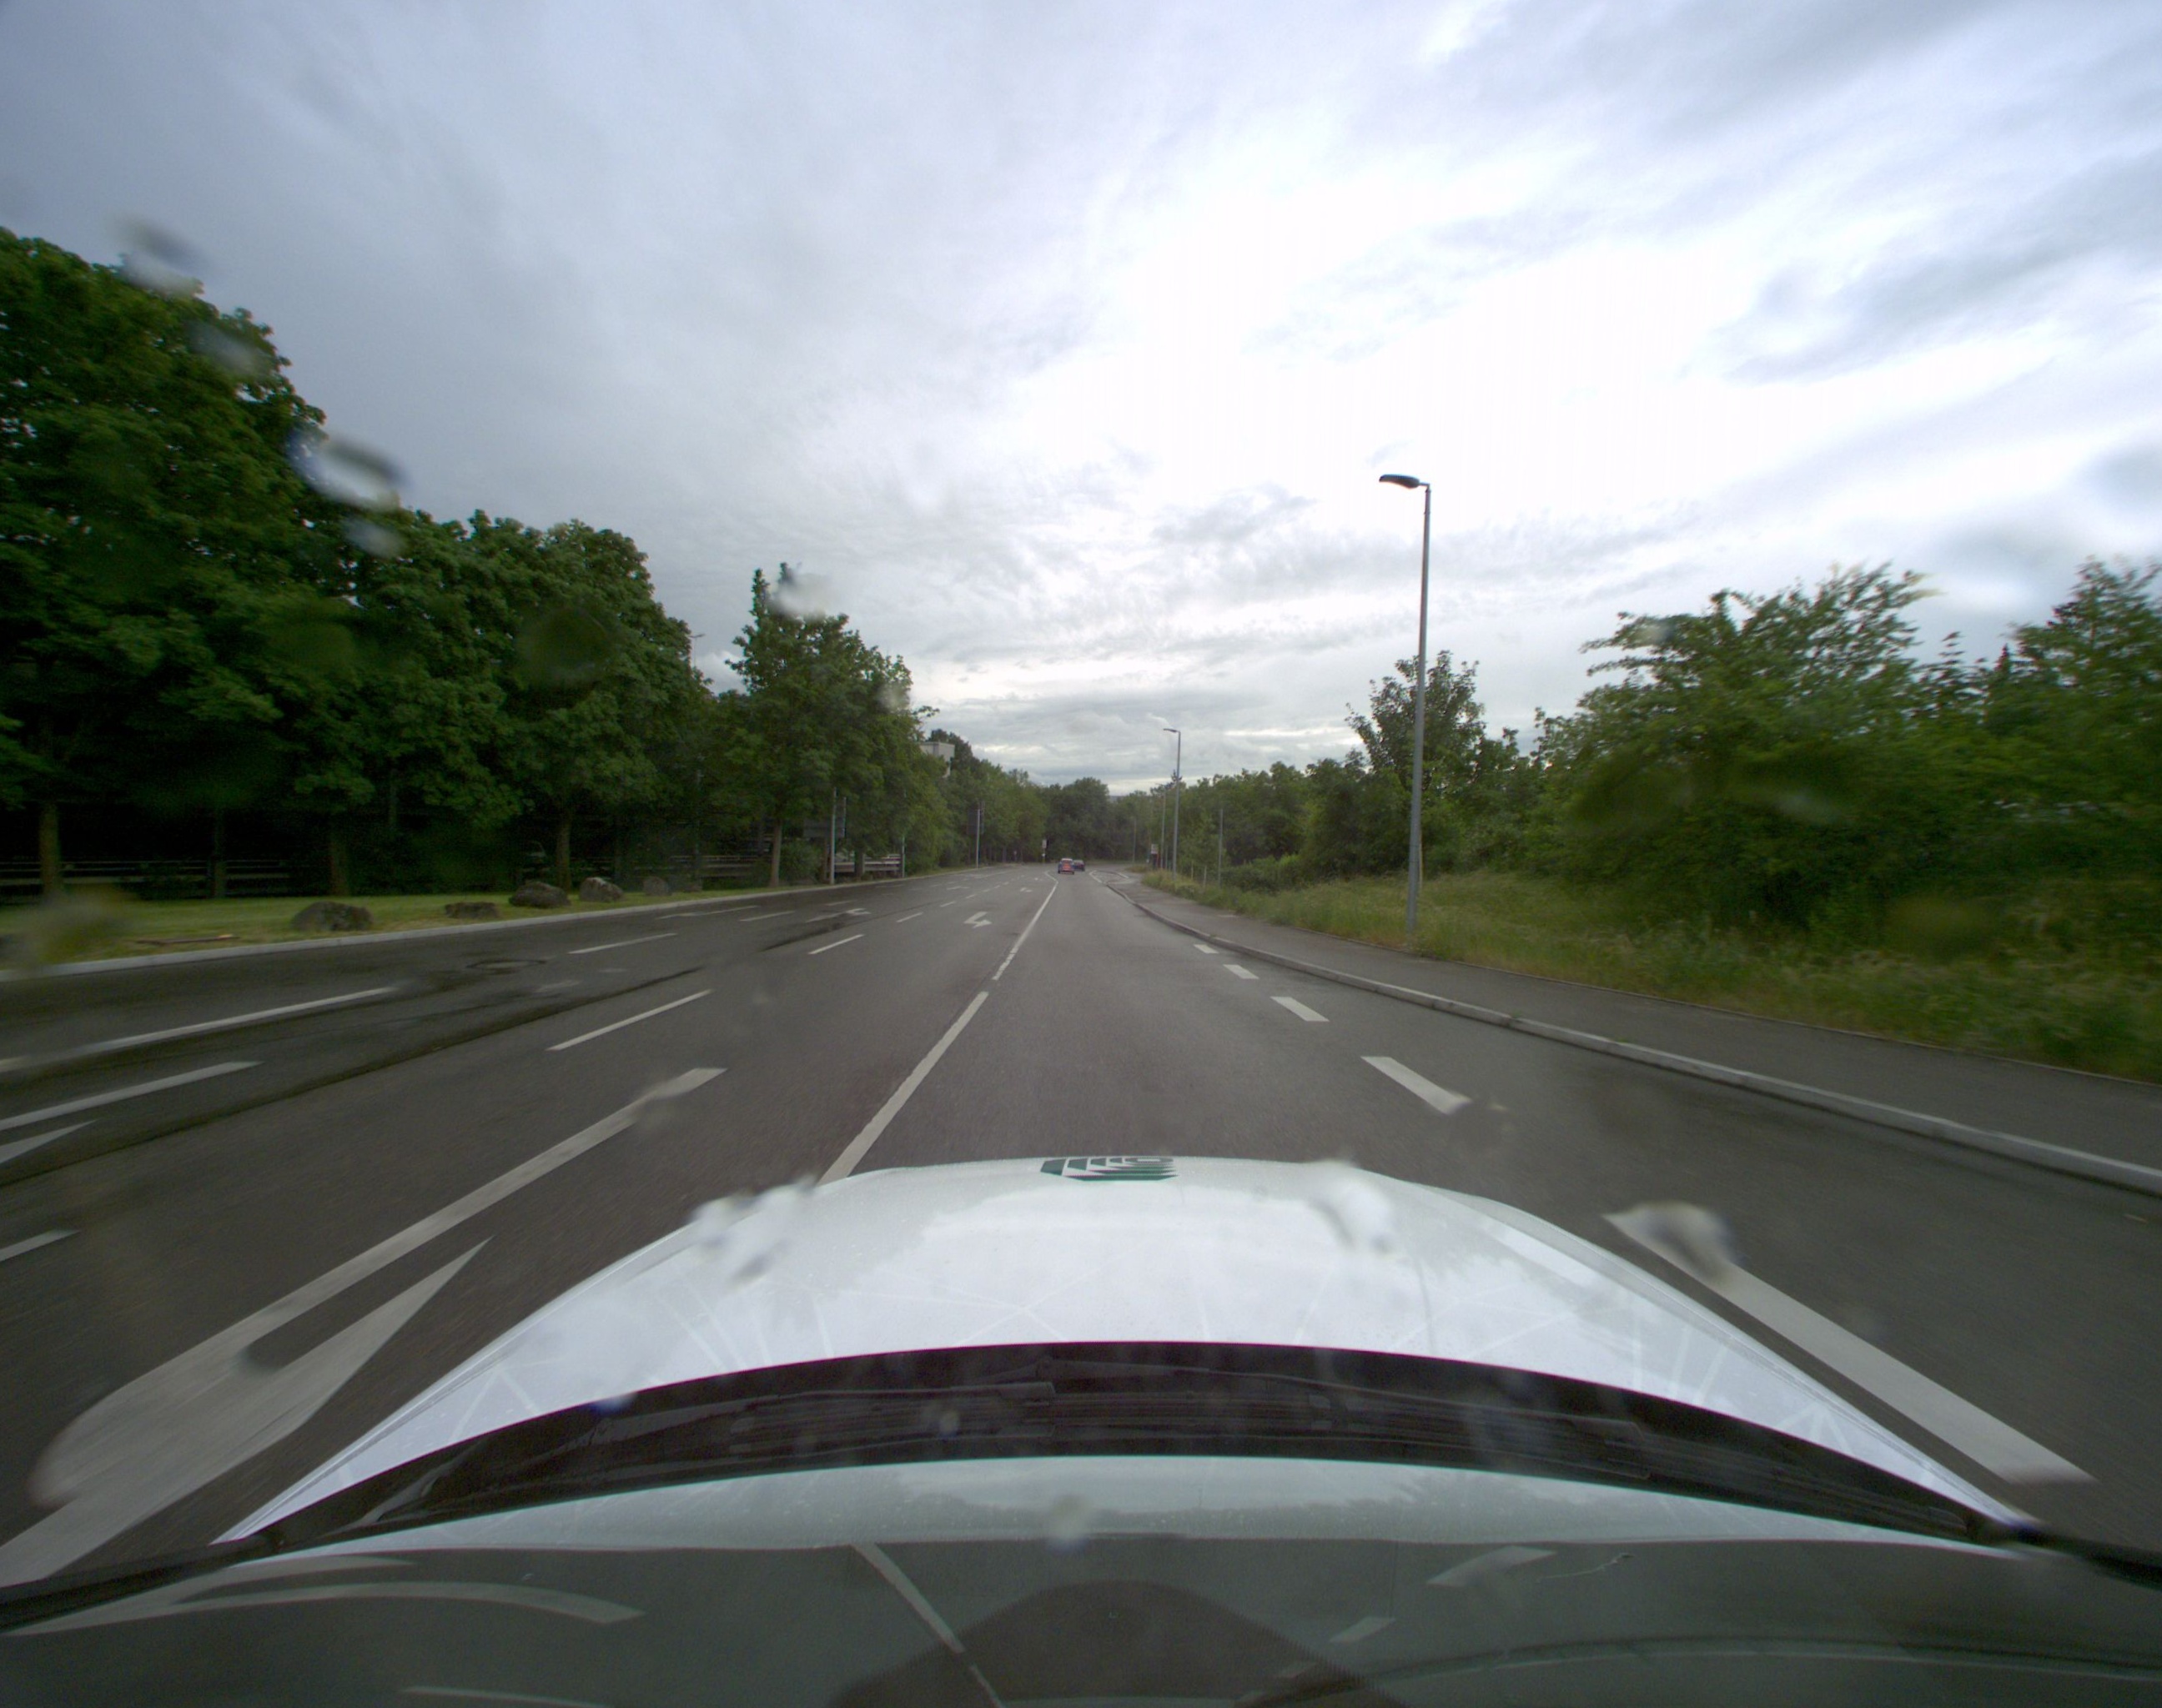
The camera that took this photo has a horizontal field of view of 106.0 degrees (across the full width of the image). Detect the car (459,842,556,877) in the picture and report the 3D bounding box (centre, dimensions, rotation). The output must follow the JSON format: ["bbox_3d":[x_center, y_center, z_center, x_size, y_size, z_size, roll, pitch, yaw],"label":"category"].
[{"bbox_3d":[-26.345,0.249,37.430,3.950,1.519,2.012,1,0,27],"label":"car"}]

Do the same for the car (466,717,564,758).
[{"bbox_3d":[-25.889,-5.335,37.239,3.951,1.518,2.012,5,1,27],"label":"car"}]

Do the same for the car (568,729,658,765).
[{"bbox_3d":[-23.548,-5.381,40.977,3.951,1.518,2.012,5,1,27],"label":"car"}]

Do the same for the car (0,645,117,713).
[{"bbox_3d":[-30.812,-5.119,24.139,3.951,1.518,2.012,5,1,27],"label":"car"}]

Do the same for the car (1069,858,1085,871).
[{"bbox_3d":[-0.485,1.279,105.174,1.921,1.486,3.799,1,2,0],"label":"car"}]

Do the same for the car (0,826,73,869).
[{"bbox_3d":[-40.017,-0.258,30.265,3.953,1.519,2.010,1,0,21],"label":"car"}]

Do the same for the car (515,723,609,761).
[{"bbox_3d":[-24.808,-5.360,38.913,3.951,1.518,2.012,5,1,27],"label":"car"}]

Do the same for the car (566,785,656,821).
[{"bbox_3d":[-23.728,-2.565,41.125,3.951,1.518,2.012,5,1,27],"label":"car"}]

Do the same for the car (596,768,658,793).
[{"bbox_3d":[-33.427,-5.380,59.954,3.951,1.519,2.011,1,0,25],"label":"car"}]

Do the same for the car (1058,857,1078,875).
[{"bbox_3d":[-1.309,1.262,85.698,1.987,1.689,4.000,3,2,0],"label":"car"}]

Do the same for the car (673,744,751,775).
[{"bbox_3d":[-21.370,-5.466,47.122,3.951,1.518,2.012,5,1,27],"label":"car"}]

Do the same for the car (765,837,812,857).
[{"bbox_3d":[-24.567,-0.593,68.324,3.434,1.519,1.594,2,0,21],"label":"car"}]
